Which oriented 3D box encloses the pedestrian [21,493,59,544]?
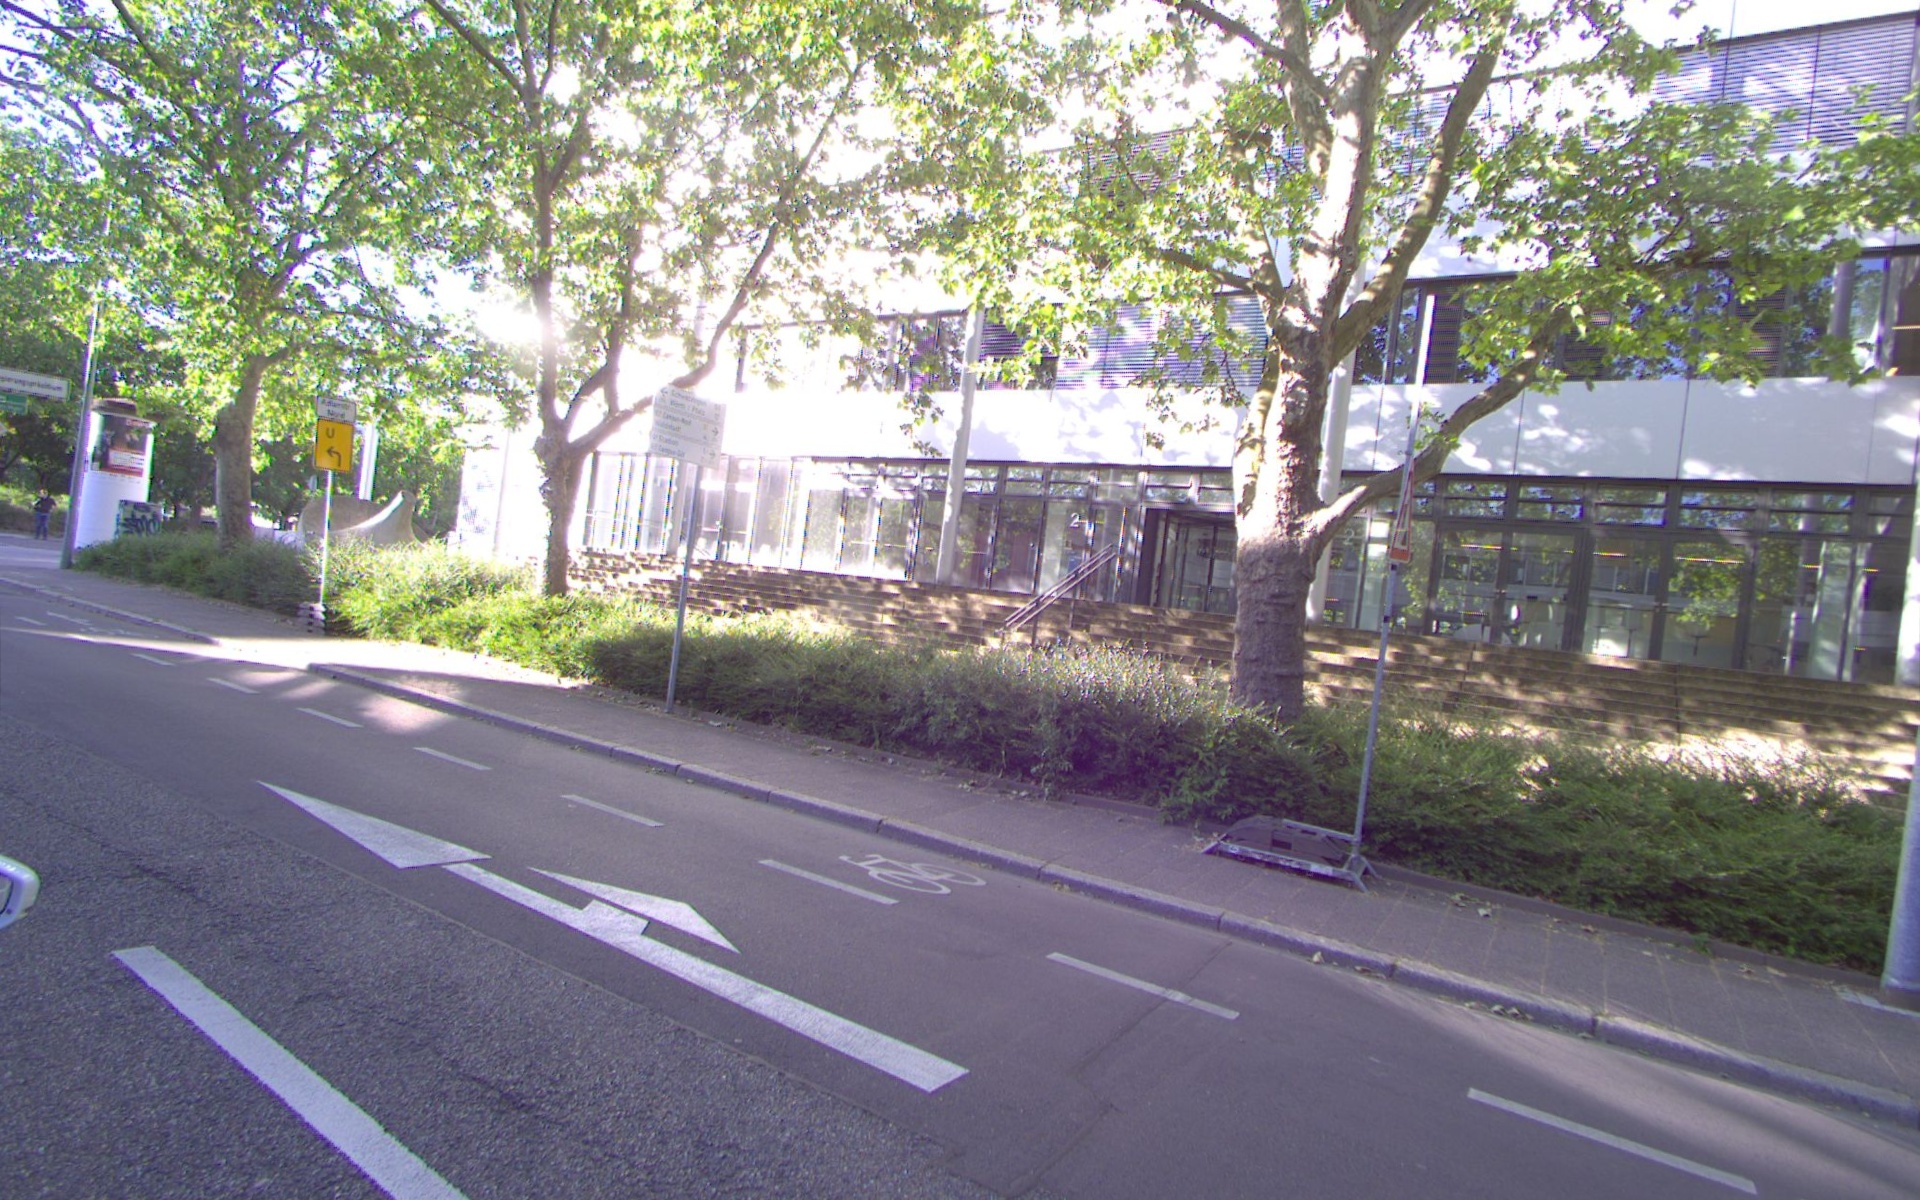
[{"bbox_3d":[-34.946,-3.099,38.216,0.730,1.799,0.724,8,-1,-28],"label":"pedestrian"}]
